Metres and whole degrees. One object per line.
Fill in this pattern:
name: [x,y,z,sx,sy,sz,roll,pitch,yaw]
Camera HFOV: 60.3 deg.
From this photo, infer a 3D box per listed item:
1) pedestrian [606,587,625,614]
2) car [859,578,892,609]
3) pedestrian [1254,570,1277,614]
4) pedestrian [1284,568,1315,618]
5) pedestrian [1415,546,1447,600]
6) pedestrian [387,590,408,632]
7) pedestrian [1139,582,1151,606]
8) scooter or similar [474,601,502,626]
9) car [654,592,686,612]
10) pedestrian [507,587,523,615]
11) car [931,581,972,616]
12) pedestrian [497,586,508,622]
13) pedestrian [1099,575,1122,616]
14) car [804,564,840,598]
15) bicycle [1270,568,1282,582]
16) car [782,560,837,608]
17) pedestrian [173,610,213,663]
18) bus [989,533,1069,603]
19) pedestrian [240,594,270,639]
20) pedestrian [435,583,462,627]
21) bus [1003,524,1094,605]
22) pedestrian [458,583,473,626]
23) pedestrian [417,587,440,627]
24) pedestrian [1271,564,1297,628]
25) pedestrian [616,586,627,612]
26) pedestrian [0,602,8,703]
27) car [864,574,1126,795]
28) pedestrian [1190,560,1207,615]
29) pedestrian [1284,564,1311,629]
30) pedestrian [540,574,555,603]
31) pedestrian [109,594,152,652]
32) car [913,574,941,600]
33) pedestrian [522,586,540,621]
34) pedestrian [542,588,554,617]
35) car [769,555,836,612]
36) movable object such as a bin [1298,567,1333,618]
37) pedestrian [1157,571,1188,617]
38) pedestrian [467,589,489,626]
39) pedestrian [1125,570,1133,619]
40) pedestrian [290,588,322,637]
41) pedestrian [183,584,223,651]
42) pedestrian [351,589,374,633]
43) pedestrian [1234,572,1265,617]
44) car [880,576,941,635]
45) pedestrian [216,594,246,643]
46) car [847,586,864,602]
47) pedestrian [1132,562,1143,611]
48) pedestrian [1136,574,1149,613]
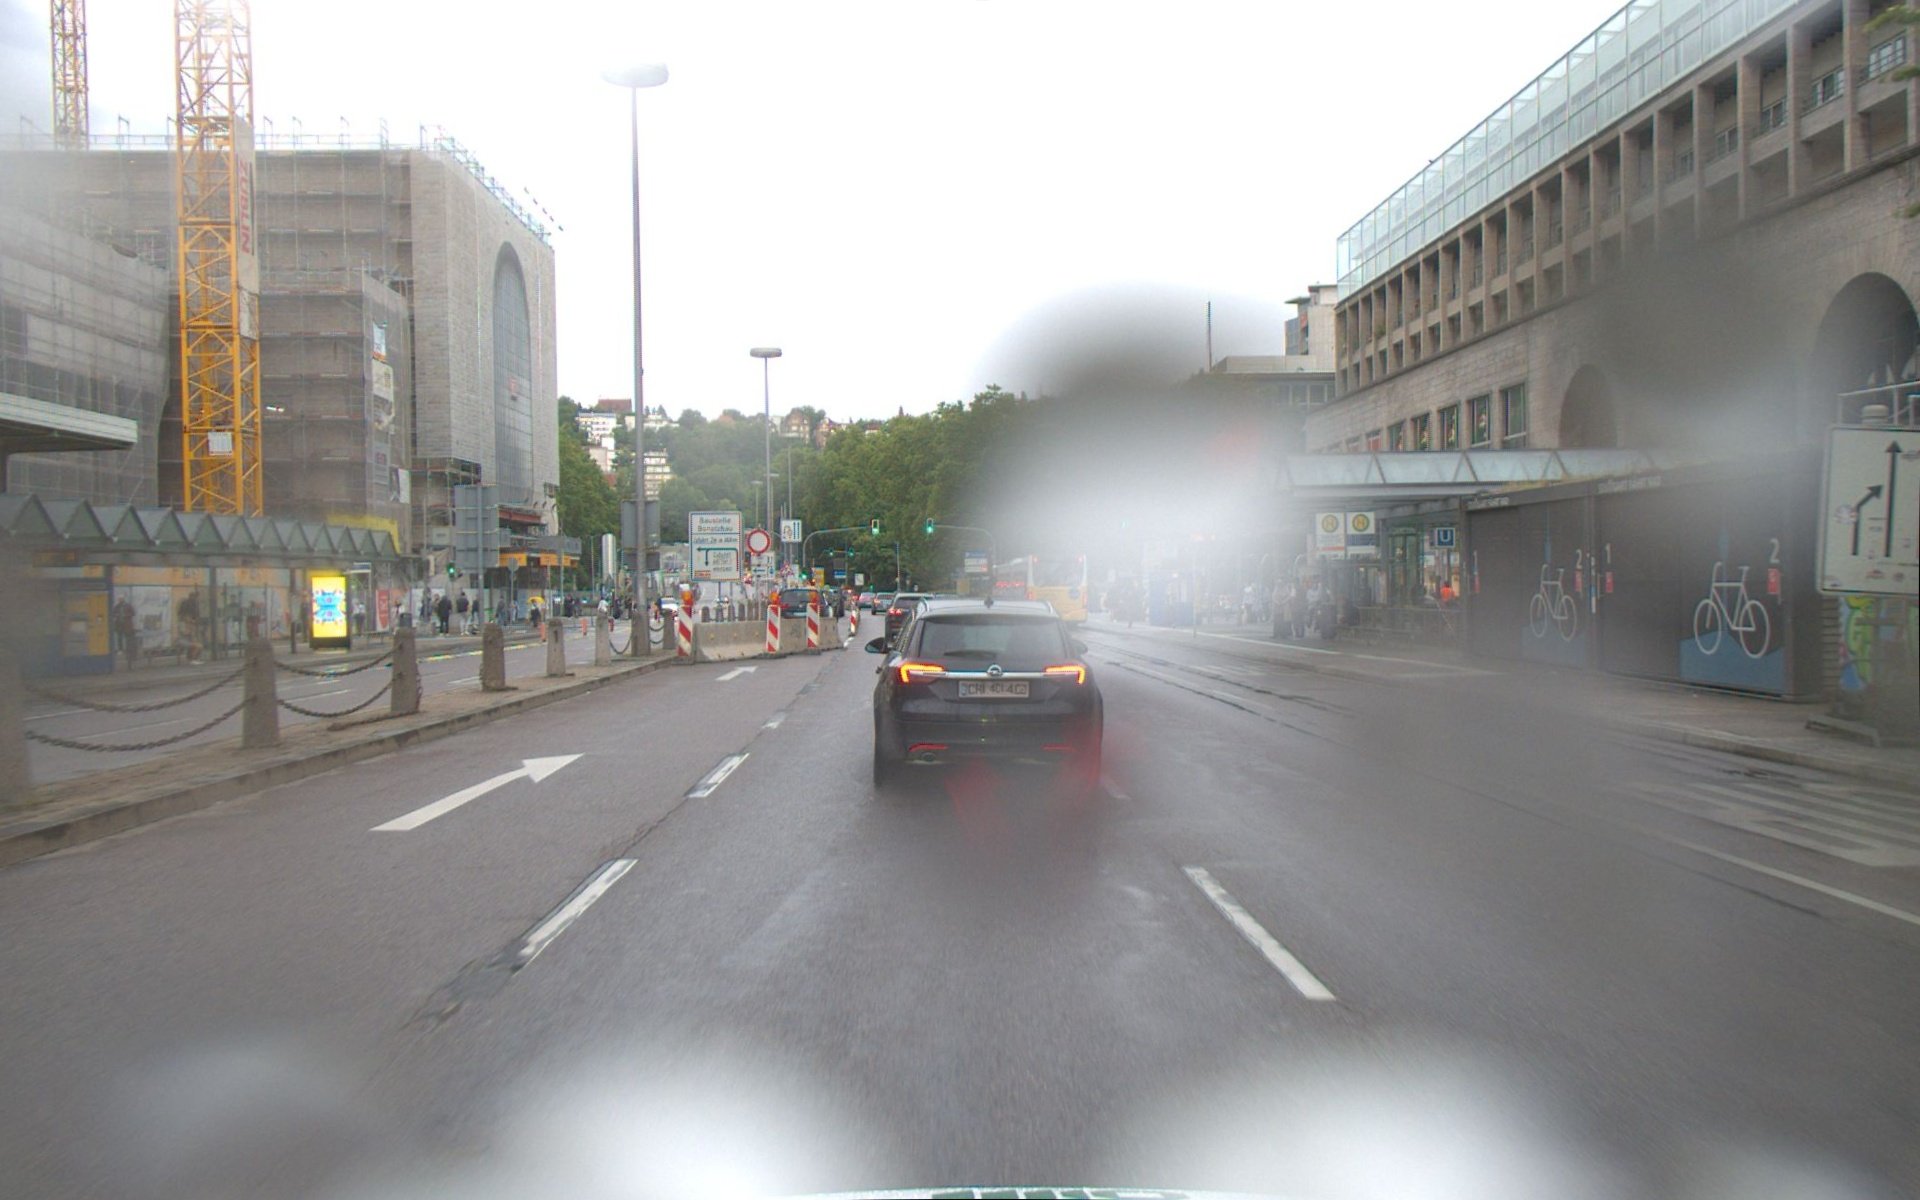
pedestrian: [-24.924,0.042,119.671,0.962,1.873,1.042,-1,1,18]
car: [-5.722,-0.417,111.313,1.945,2.049,4.364,0,0,-6]
pedestrian: [12.116,-0.325,65.608,0.733,1.724,0.902,-1,1,0]
pedestrian: [11.474,-0.249,55.879,0.750,1.683,0.674,-1,1,-26]
pedestrian: [16.428,-0.957,57.677,0.752,1.863,0.745,-1,1,-32]
pedestrian: [-25.411,0.500,74.701,0.706,1.873,0.612,-1,1,1]
pedestrian: [9.545,-0.317,85.422,0.504,1.254,0.770,-1,1,0]
scooter or similar: [-21.069,0.603,73.862,0.450,1.084,1.237,0,1,32]
car: [-22.632,0.152,129.329,1.954,1.493,3.998,0,0,-3]
pedestrian: [-26.182,0.067,97.306,0.662,1.641,0.838,-1,1,0]
car: [-0.454,-0.073,84.771,1.816,1.747,3.996,0,0,-5]
pedestrian: [-24.492,0.216,88.498,0.561,1.873,0.701,-1,1,-16]
pedestrian: [6.993,-0.211,76.883,0.963,1.868,0.836,-1,1,13]
car: [-7.919,-1.089,94.768,1.955,1.818,4.450,-2,1,-5]
bicycle: [23.842,-1.881,124.670,0.603,1.043,1.997,-3,1,4]
car: [-5.720,-0.630,63.441,1.954,1.735,4.829,-2,1,-4]
pedestrian: [-20.016,0.952,43.179,0.685,1.349,0.805,-1,1,-4]
bus: [3.266,-1.506,81.025,3.051,3.261,9.236,0,0,-3]
pedestrian: [-24.983,0.584,58.651,0.787,1.574,0.700,-1,1,-8]
pedestrian: [-22.310,0.210,72.086,0.688,1.873,0.877,0,1,26]
bus: [3.712,-1.471,71.871,3.078,3.304,9.131,0,0,-2]
pedestrian: [-21.406,0.186,71.561,0.498,1.873,0.703,-1,1,-8]
pedestrian: [-25.425,0.333,79.170,0.786,1.873,0.868,-1,1,1]
pedestrian: [9.622,-0.128,49.133,0.662,1.868,0.574,-1,1,-1]
pedestrian: [-24.702,-0.055,120.733,0.684,1.873,0.528,-1,1,-5]
pedestrian: [-17.839,0.963,30.175,0.772,1.821,0.666,-1,1,-30]
car: [0.208,0.562,14.134,1.839,1.534,4.851,-1,1,-1]
pedestrian: [9.806,-0.507,67.995,0.578,2.254,0.587,-1,1,-1]
pedestrian: [9.787,-0.112,47.991,0.614,1.868,0.641,-1,1,0]
pedestrian: [-26.635,-0.732,106.797,0.755,1.873,0.835,-1,1,-1]
pedestrian: [-25.137,0.697,50.118,0.860,1.729,0.836,-1,1,-4]
car: [-2.122,-0.836,105.567,1.641,1.609,3.237,0,0,-4]
pedestrian: [-22.836,0.182,88.096,0.861,1.873,0.835,-1,1,-17]
pedestrian: [-24.409,0.147,97.971,0.670,1.715,0.835,-1,1,-16]
car: [-5.476,-0.592,58.058,1.953,1.894,4.831,-1,1,-1]
movable object such as a bin: [11.834,-0.263,55.049,0.654,1.681,1.040,-1,1,-25]
pedestrian: [7.974,-0.222,62.025,0.749,1.719,0.992,-1,1,-23]
pedestrian: [-24.823,0.365,85.190,0.822,1.873,1.058,-1,1,1]
pedestrian: [6.479,-0.218,63.294,0.238,1.868,0.512,-1,1,1]
pedestrian: [-25.248,0.466,63.875,0.840,1.873,1.044,1,1,-3]
pedestrian: [-21.551,0.496,47.081,0.729,1.873,0.702,0,1,17]
pedestrian: [-25.387,0.465,70.259,0.727,1.873,0.656,-1,1,1]
pedestrian: [12.042,-0.224,68.809,0.778,1.836,0.982,-2,1,-31]
car: [-1.523,0.146,51.274,1.793,1.715,4.133,-1,1,-2]
pedestrian: [-25.783,0.639,58.526,0.787,1.699,0.700,-1,1,-8]
car: [-10.953,-0.667,173.980,1.671,1.694,3.705,0,0,-1]
pedestrian: [6.801,-0.516,63.317,0.339,1.868,0.533,-1,1,1]
pedestrian: [8.623,-0.312,78.068,0.553,1.868,0.569,-1,1,0]
